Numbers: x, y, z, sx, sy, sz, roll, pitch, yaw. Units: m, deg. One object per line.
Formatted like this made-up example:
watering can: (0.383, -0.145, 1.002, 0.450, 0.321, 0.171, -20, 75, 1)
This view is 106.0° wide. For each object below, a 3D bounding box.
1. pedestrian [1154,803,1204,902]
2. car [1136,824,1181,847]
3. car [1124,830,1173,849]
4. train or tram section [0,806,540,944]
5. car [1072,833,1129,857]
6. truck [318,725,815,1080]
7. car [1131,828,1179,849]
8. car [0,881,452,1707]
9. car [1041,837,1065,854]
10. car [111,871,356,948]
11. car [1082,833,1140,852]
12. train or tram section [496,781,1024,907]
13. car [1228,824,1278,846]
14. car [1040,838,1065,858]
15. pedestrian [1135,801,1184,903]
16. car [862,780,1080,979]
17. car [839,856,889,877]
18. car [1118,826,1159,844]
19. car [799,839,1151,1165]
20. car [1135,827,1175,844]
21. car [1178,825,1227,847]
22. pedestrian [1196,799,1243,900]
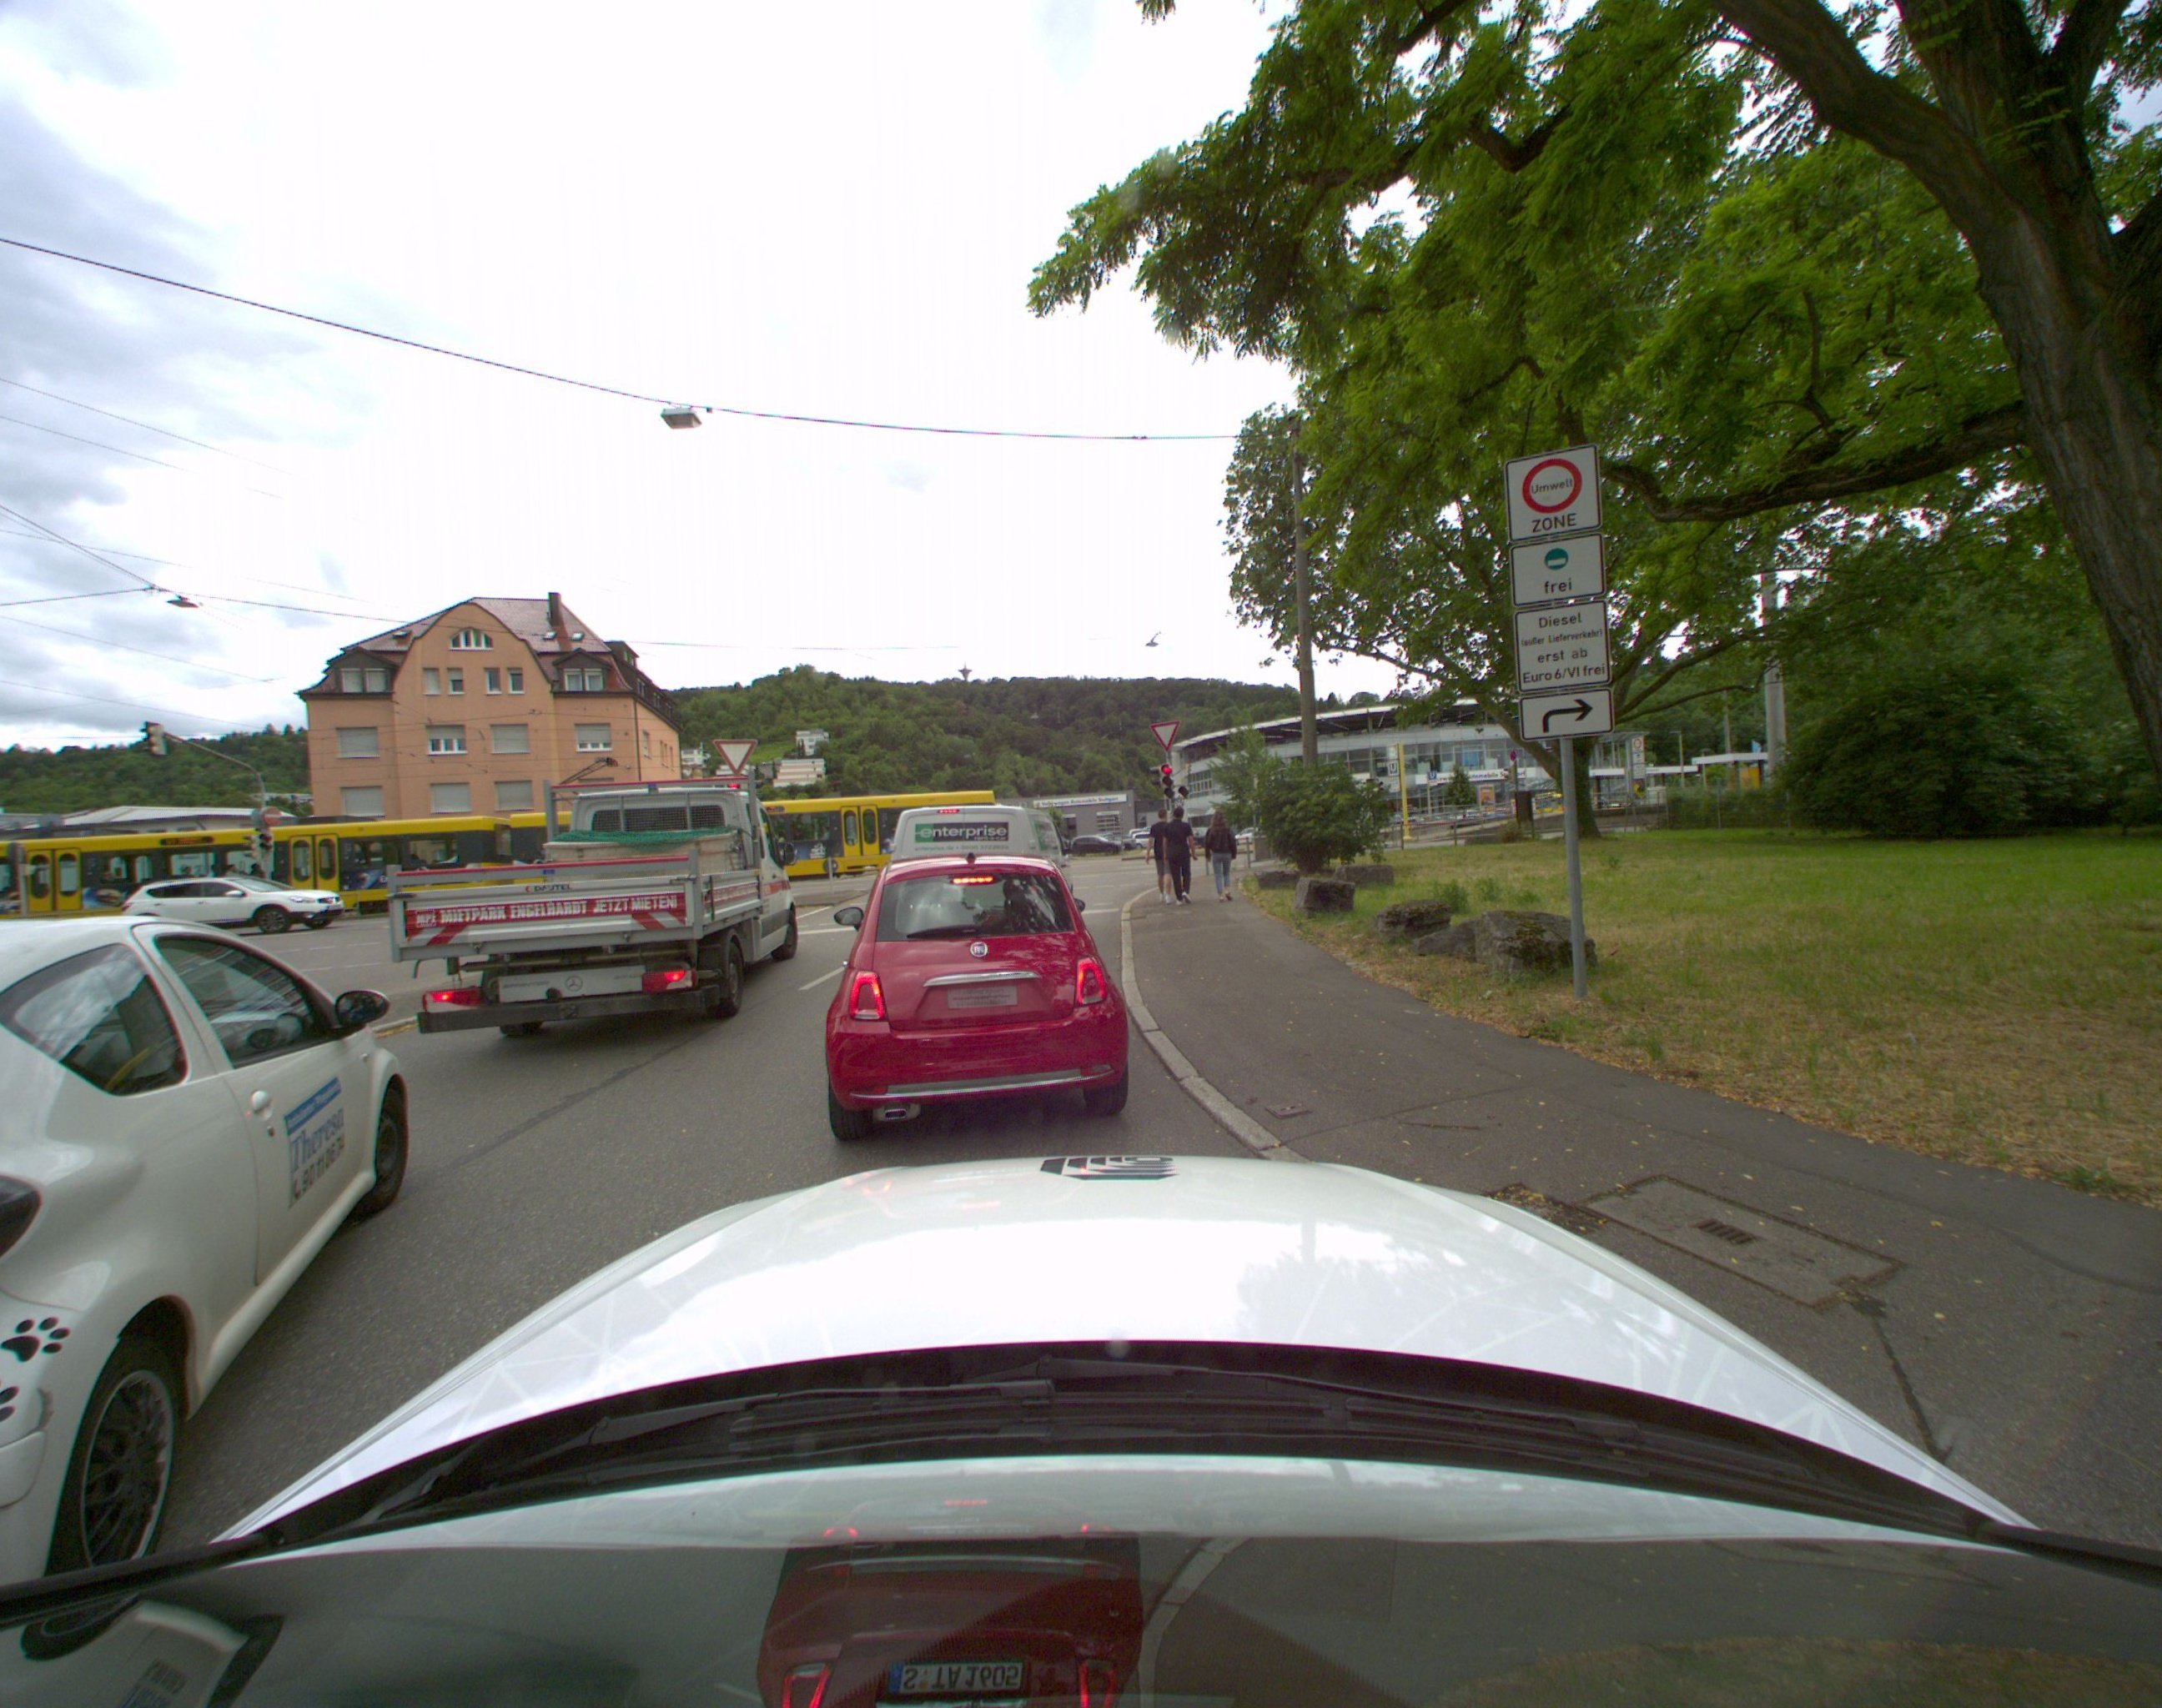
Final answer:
pedestrian: (1.793, -0.027, 14.824, 0.688, 1.714, 0.791, -4, 1, 13)
car: (8.450, -1.984, 89.162, 4.774, 2.156, 2.237, -4, 1, 4)
car: (6.709, -1.462, 81.127, 4.774, 1.533, 1.778, -4, 1, 4)
train or tram section: (-30.663, 0.747, 28.838, 19.120, 3.665, 3.266, -4, 1, -11)
car: (1.514, -0.701, 61.487, 3.837, 1.500, 1.784, -3, 1, 18)
truck: (-4.648, 0.292, 8.914, 2.423, 2.397, 6.006, -4, 1, -11)
car: (7.643, -1.611, 84.367, 4.774, 1.802, 1.778, -4, 1, 4)
car: (-3.304, 0.886, 2.466, 1.649, 1.432, 3.398, -5, 1, -30)
car: (-2.688, -0.862, 79.099, 1.761, 1.533, 4.096, -4, 1, 5)
car: (-22.604, 1.435, 21.922, 4.121, 1.584, 1.793, -4, 1, -16)
car: (2.595, -1.006, 70.552, 4.636, 1.327, 1.783, -4, 1, 15)
train or tram section: (-12.131, -0.588, 33.469, 19.152, 3.665, 3.260, -4, 1, -16)
car: (14.066, -1.532, 66.719, 1.781, 1.500, 3.984, -4, 1, -29)
car: (-2.722, -0.603, 79.105, 1.985, 1.815, 4.004, -4, 1, 3)
pedestrian: (1.508, -0.047, 15.530, 0.688, 1.857, 0.791, -4, 1, 14)
car: (-1.246, 0.236, 11.533, 1.981, 2.106, 4.767, -4, 1, 4)
car: (-19.588, 1.115, 73.631, 4.209, 1.533, 1.767, -4, 1, -14)
car: (6.807, -2.203, 96.287, 4.774, 1.802, 1.778, -4, 1, 4)
car: (-0.750, 0.687, 5.675, 1.638, 1.456, 3.420, -3, 1, -9)
car: (9.188, -2.317, 101.130, 4.774, 1.802, 1.778, -4, 1, 4)
car: (9.691, -1.400, 65.083, 1.782, 1.500, 3.843, -4, 1, -31)
pedestrian: (2.542, -0.089, 14.857, 0.688, 1.739, 0.791, -4, 1, 12)
